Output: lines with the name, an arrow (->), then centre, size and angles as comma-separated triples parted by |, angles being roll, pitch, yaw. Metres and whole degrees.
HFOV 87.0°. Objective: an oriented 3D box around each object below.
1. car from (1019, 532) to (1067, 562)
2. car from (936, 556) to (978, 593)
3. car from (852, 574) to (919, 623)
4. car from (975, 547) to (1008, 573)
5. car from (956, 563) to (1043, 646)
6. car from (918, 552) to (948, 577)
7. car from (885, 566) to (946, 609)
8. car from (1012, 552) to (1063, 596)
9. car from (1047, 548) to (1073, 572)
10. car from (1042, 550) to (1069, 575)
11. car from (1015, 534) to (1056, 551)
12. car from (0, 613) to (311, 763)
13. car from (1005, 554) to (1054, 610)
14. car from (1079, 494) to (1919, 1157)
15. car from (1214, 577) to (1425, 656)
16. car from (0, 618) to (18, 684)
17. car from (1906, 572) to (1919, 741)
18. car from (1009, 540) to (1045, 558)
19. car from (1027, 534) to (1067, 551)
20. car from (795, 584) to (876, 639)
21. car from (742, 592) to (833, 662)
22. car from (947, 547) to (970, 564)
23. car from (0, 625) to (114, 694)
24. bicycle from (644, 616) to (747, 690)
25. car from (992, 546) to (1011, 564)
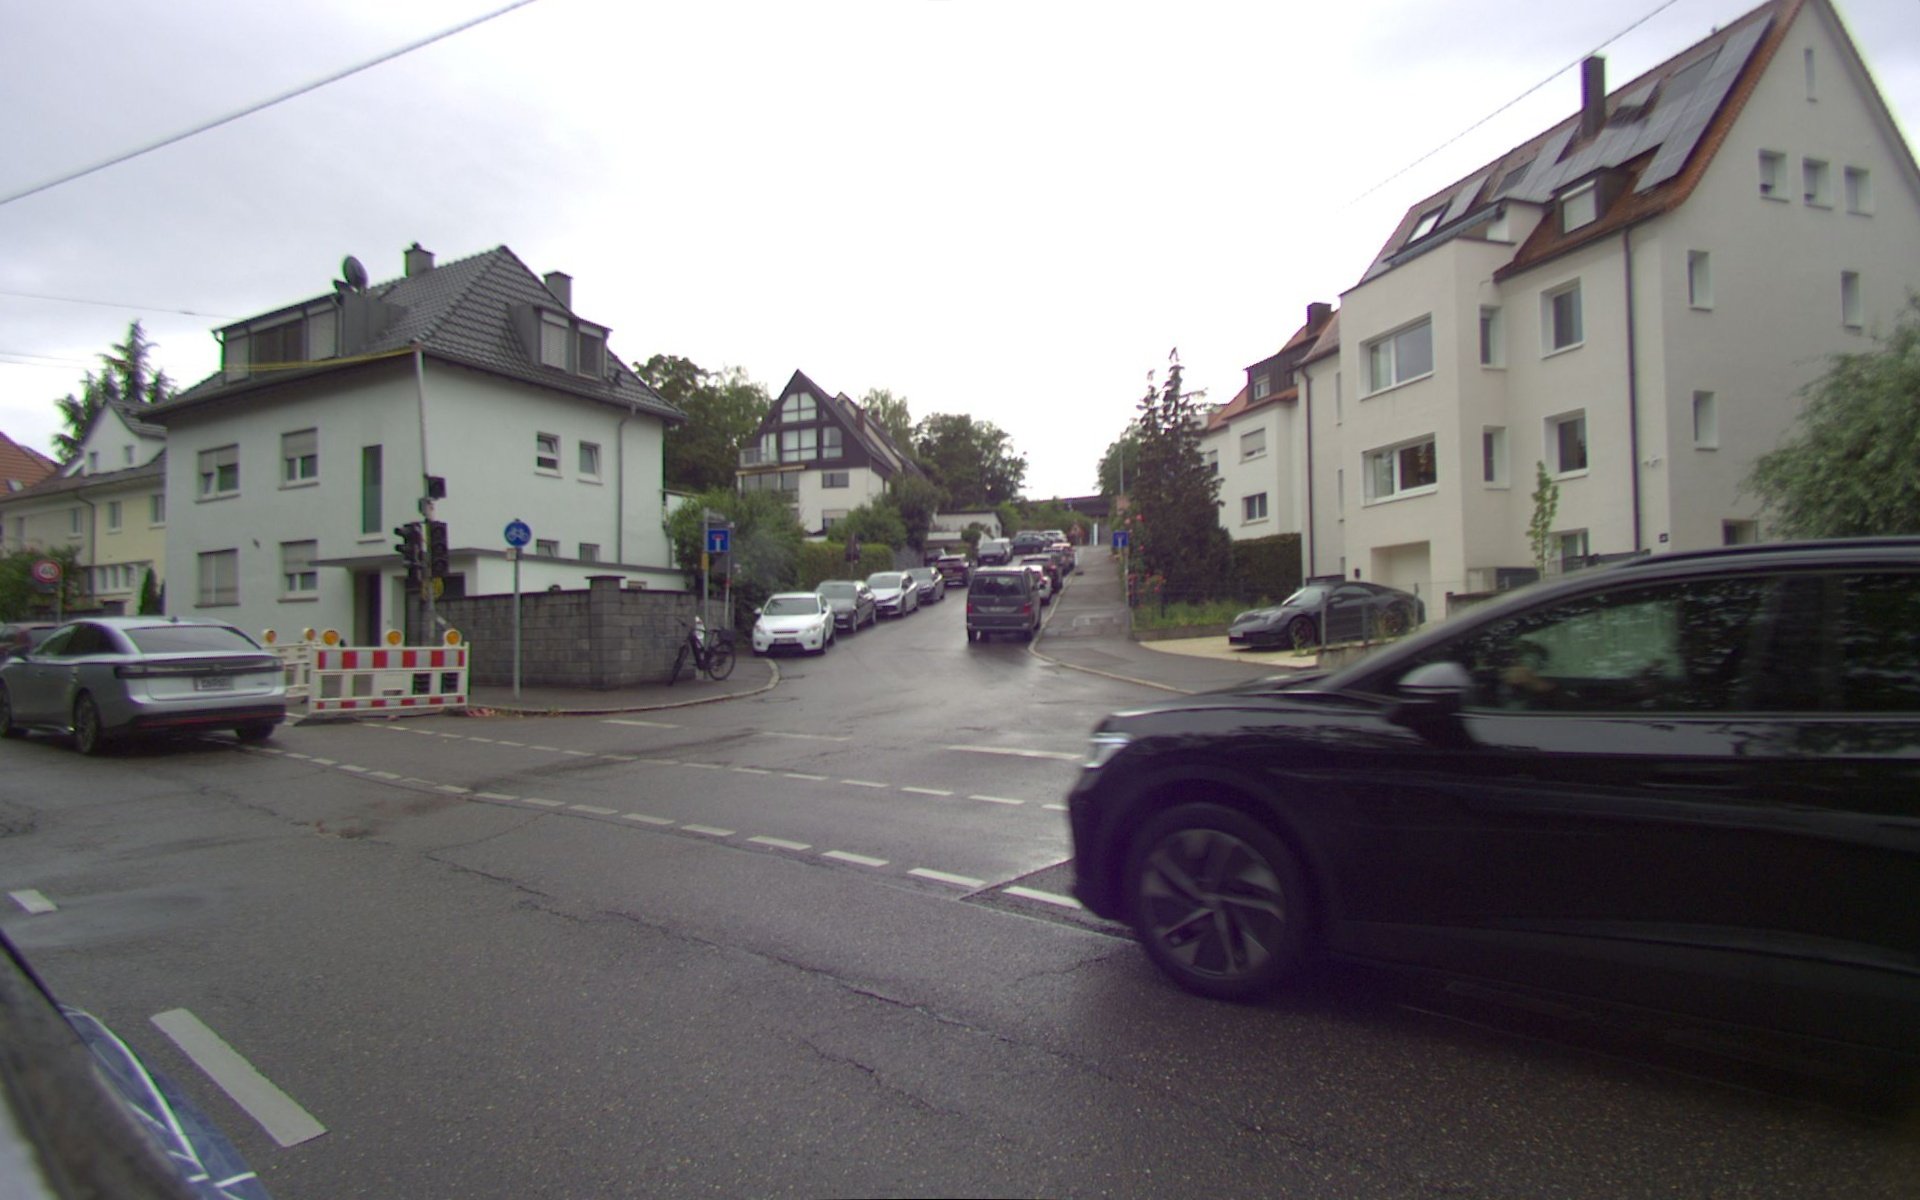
car -> 7.200, -4.571, 87.645 | 3.954, 2.028, 1.995 | -5, -1, 8
car -> -0.118, -1.368, 52.468 | 1.623, 1.637, 3.992 | -1, 5, 8
car -> -2.663, -0.088, 37.091 | 1.738, 1.481, 3.940 | -1, 4, 6
car -> 2.193, -2.677, 68.889 | 1.770, 1.531, 4.016 | -1, 0, 9
car -> 1.237, 0.046, 29.329 | 1.978, 2.028, 4.482 | -1, 4, 9
car -> -1.830, -2.425, 69.797 | 1.793, 1.566, 4.009 | -1, 0, 3
car -> -1.811, -0.557, 42.963 | 1.903, 1.448, 4.100 | -1, 5, 7
car -> 3.517, -1.198, 45.379 | 1.823, 1.699, 4.039 | -1, 5, 11
car -> 6.234, -2.454, 62.851 | 1.488, 1.373, 3.465 | -1, 0, 8
car -> 5.499, -2.150, 58.114 | 1.274, 1.325, 2.984 | -1, 3, 10
car -> 7.390, -5.599, 98.791 | 3.922, 1.528, 1.748 | -1, 0, 6
car -> -10.226, 0.945, 12.487 | 4.802, 1.539, 1.839 | -1, -1, 31
car -> 2.815, -0.759, 40.327 | 1.686, 1.843, 4.194 | -1, 6, 7
car -> 2.679, 0.556, 3.416 | 4.157, 1.634, 1.850 | -1, 0, 37
car -> 7.701, 0.329, 21.775 | 3.942, 1.290, 1.613 | -5, 1, -13
car -> -26.159, 1.318, 25.780 | 4.131, 1.653, 1.782 | -1, -1, 25
car -> 10.598, 0.419, 8.551 | 3.934, 1.497, 1.780 | -2, -1, -12
car -> 5.551, -4.206, 83.657 | 2.914, 1.328, 1.282 | -1, 0, 4
car -> 8.938, -5.910, 103.917 | 3.782, 1.529, 1.664 | -1, 0, 15
car -> -3.833, 0.316, 31.822 | 1.702, 1.397, 3.900 | -1, 4, 6
car -> -4.360, 0.622, 26.160 | 1.827, 1.473, 4.124 | -1, 3, -3
car -> -0.085, -3.265, 74.024 | 1.559, 1.220, 3.650 | -1, 3, 2
car -> -21.474, 1.335, 23.388 | 3.833, 1.443, 1.768 | -1, -1, 30
bicycle -> -4.792, 0.930, 18.461 | 0.508, 1.249, 1.984 | 1, 0, 32
car -> 3.055, -3.333, 74.714 | 1.292, 1.206, 2.980 | -1, 3, 5
